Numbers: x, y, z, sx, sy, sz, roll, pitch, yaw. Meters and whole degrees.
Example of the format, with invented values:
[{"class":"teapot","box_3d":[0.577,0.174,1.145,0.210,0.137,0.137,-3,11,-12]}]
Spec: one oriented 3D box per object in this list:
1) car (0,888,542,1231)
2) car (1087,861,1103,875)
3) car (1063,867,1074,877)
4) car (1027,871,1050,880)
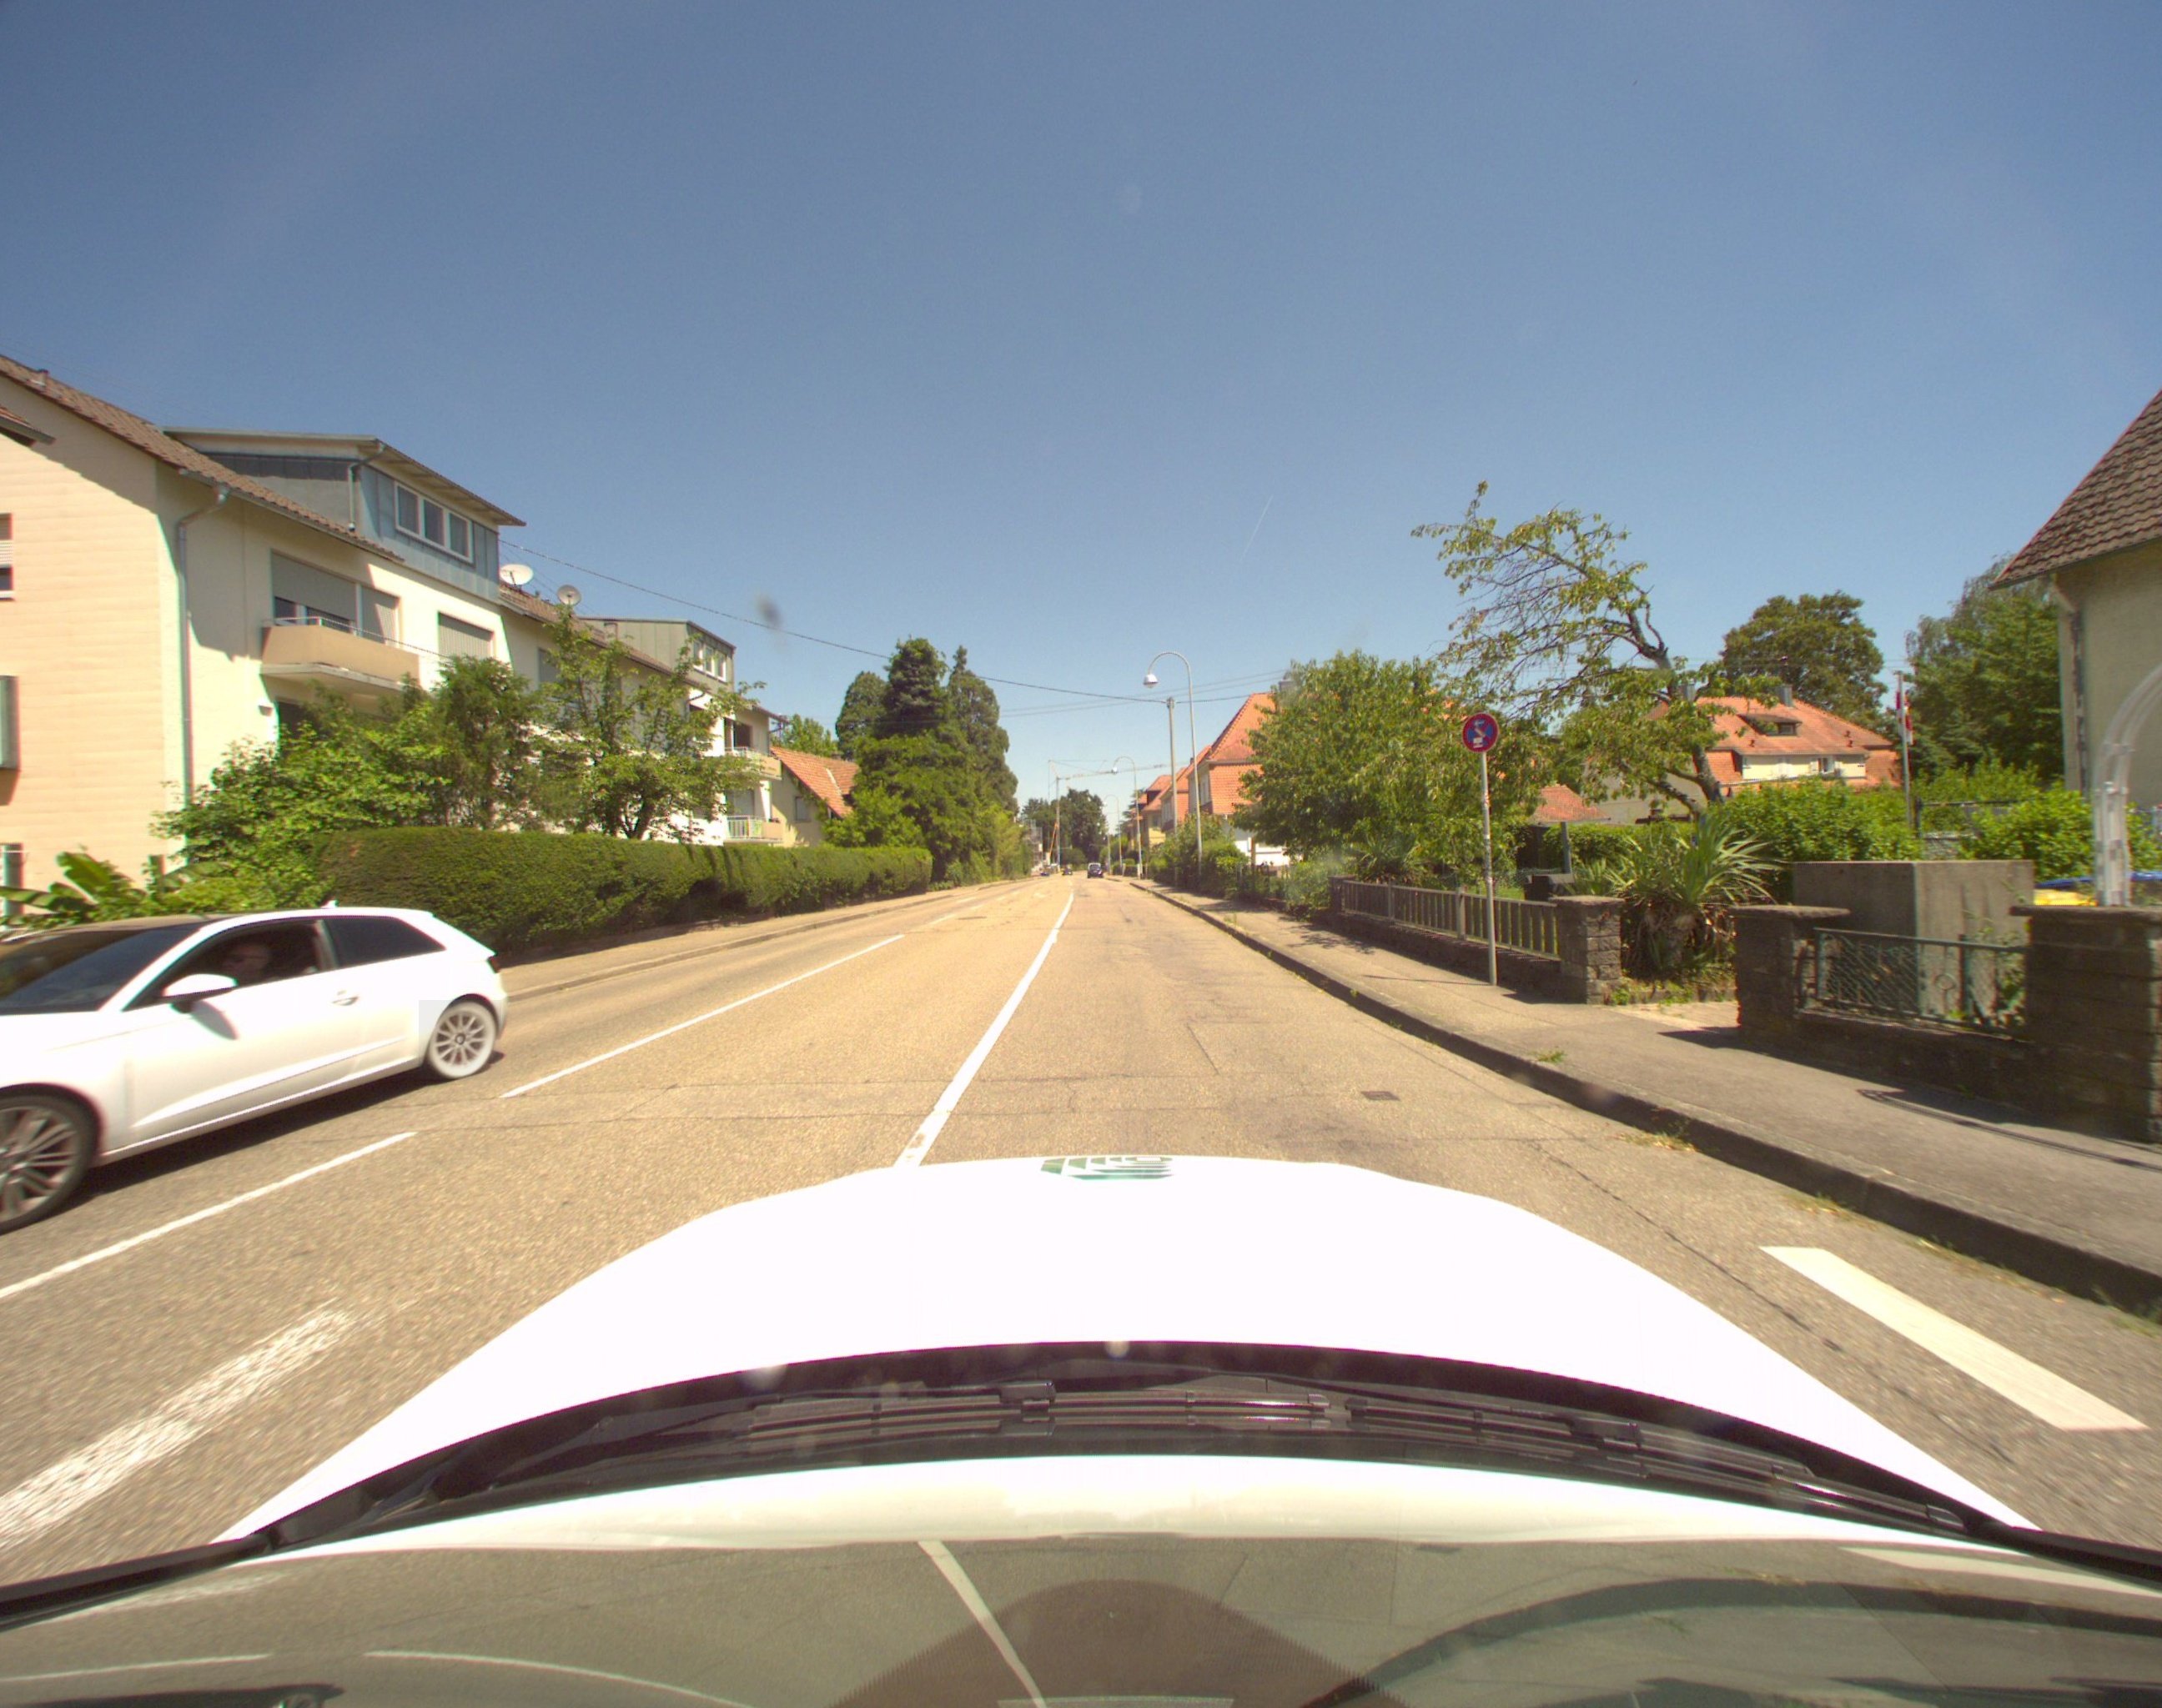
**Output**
[{"class":"car","box_3d":[-5.596,1.033,4.946,1.674,1.372,4.208,-4,0,2]},{"class":"car","box_3d":[1.571,1.613,91.489,1.687,1.419,4.549,-2,-2,-1]},{"class":"car","box_3d":[-2.623,3.701,166.365,1.986,1.850,4.713,-2,1,1]},{"class":"car","box_3d":[-8.104,4.058,156.825,3.958,1.468,1.973,-3,0,14]}]
